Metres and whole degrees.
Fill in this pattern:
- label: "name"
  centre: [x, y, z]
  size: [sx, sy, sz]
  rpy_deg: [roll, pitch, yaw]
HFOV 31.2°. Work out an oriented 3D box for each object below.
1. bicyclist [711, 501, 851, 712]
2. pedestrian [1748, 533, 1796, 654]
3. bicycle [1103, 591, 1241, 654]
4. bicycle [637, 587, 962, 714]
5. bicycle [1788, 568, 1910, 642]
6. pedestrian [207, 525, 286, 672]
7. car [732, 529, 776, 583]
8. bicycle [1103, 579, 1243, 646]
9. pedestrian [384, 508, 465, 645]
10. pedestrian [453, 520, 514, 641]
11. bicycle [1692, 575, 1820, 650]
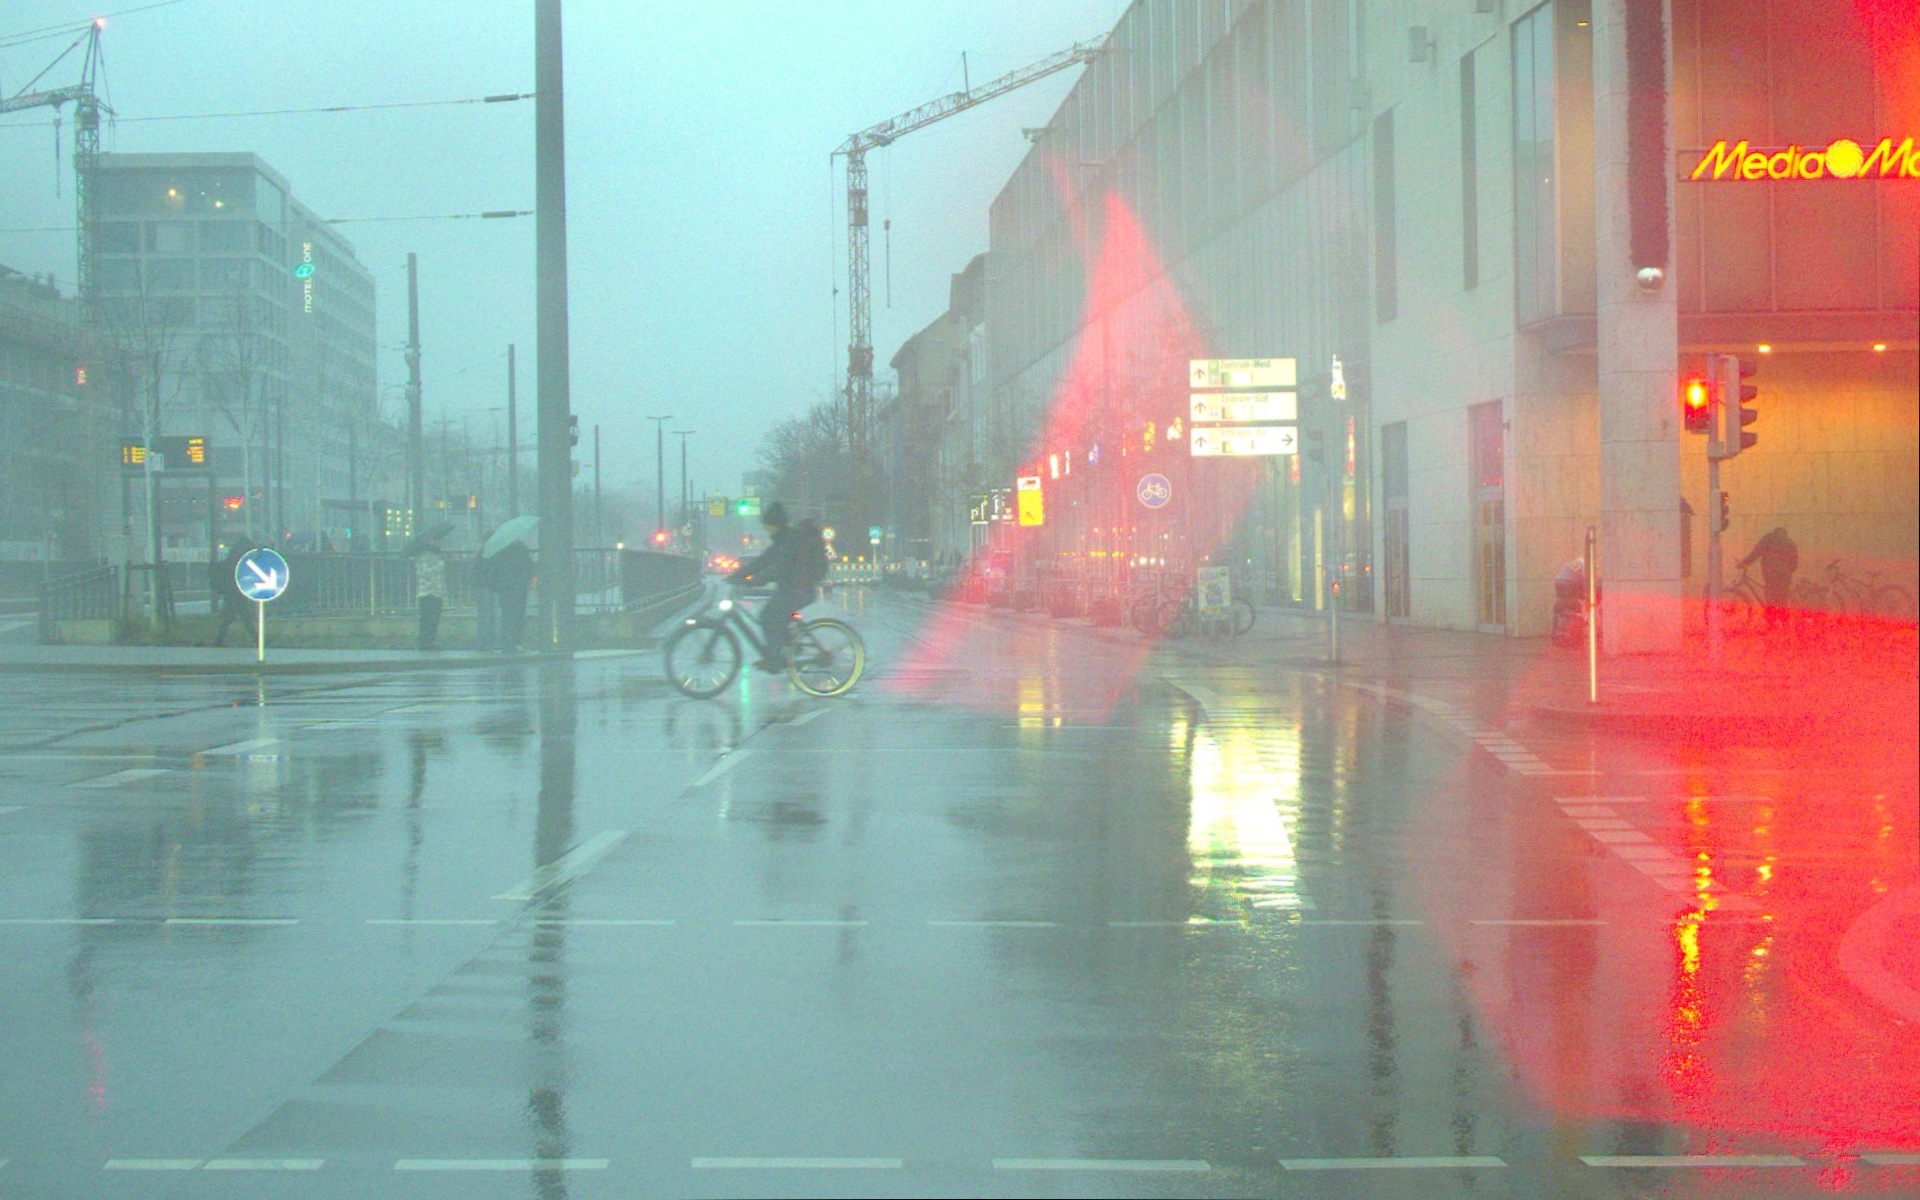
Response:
- label: "bicyclist"
  centre: [-1.622, 0.057, 31.056]
  size: [1.156, 1.865, 0.745]
  rpy_deg: [1, 0, -10]
- label: "pedestrian"
  centre: [11.739, -0.100, 49.712]
  size: [0.600, 1.739, 0.524]
  rpy_deg: [1, 0, 8]
- label: "bicycle"
  centre: [3.842, 0.405, 62.464]
  size: [2.425, 1.095, 0.712]
  rpy_deg: [-1, 0, -2]
- label: "bicycle"
  centre: [-1.457, 0.453, 31.086]
  size: [2.855, 1.095, 0.745]
  rpy_deg: [1, 0, -10]
- label: "bicycle"
  centre: [13.135, 0.066, 50.810]
  size: [1.646, 1.066, 0.525]
  rpy_deg: [1, 0, -4]
- label: "pedestrian"
  centre: [-9.839, -0.025, 47.411]
  size: [0.785, 2.007, 0.726]
  rpy_deg: [1, 1, 42]
- label: "car"
  centre: [-7.800, -1.685, 130.511]
  size: [1.577, 2.007, 3.172]
  rpy_deg: [-1, 1, -3]
- label: "bicycle"
  centre: [3.804, 0.225, 61.505]
  size: [2.442, 1.150, 0.674]
  rpy_deg: [-1, 0, -1]
- label: "pedestrian"
  centre: [-7.223, -0.314, 46.384]
  size: [0.821, 1.825, 0.786]
  rpy_deg: [1, 0, -31]
- label: "pedestrian"
  centre: [-6.653, -0.273, 47.997]
  size: [0.612, 1.680, 0.577]
  rpy_deg: [1, 1, 42]
- label: "bicycle"
  centre: [11.645, 0.174, 50.325]
  size: [1.768, 1.066, 0.524]
  rpy_deg: [1, 0, 8]
